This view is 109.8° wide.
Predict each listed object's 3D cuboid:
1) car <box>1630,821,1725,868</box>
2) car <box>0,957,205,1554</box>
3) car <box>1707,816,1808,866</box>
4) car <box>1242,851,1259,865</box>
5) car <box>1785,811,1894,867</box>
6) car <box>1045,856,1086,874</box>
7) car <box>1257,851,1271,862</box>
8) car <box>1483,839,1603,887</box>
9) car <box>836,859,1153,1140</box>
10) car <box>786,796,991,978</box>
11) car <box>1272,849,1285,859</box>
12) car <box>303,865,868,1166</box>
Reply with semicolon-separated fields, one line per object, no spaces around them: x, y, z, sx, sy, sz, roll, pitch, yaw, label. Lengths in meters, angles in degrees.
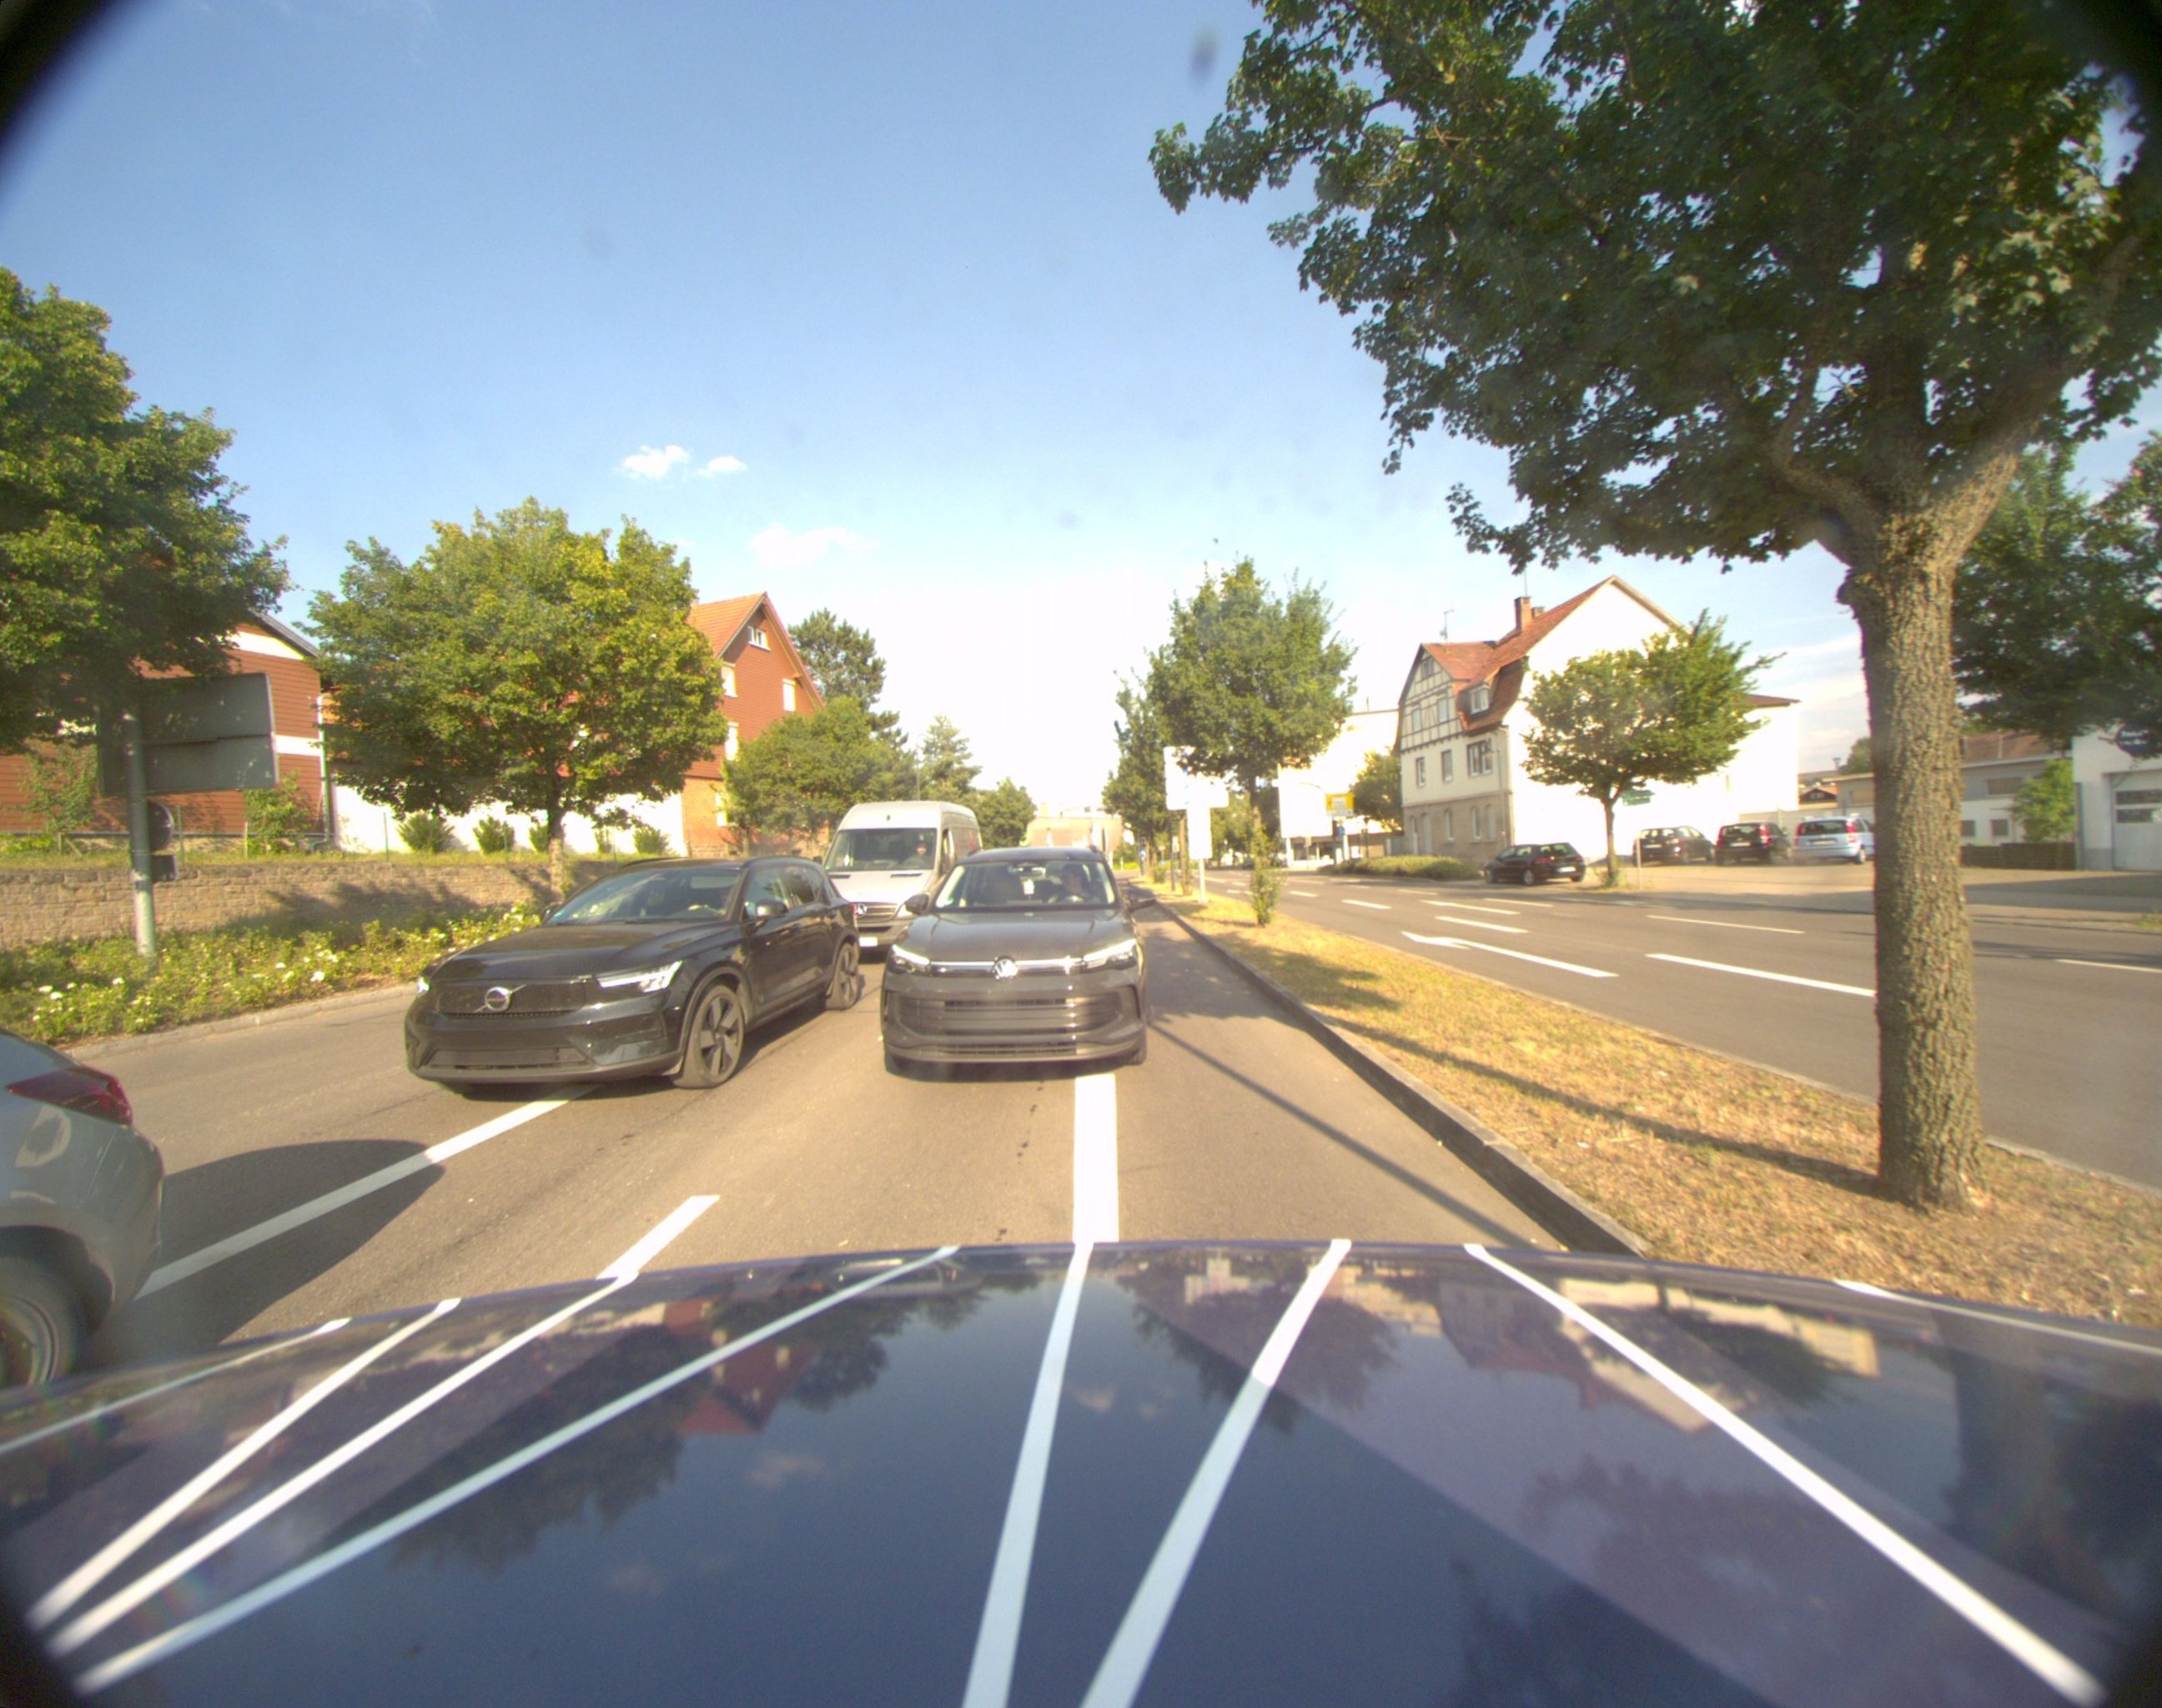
23.380;-0.385;29.758;3.830;1.493;1.816;-5;0;-35;car
-3.613;1.061;0.188;1.766;1.445;4.318;-1;0;0;car
24.659;-0.483;27.661;3.830;1.493;1.816;-5;0;-35;car
21.715;0.518;97.208;1.779;1.683;4.004;-2;0;16;car
24.881;-0.496;24.896;3.830;1.493;1.816;-5;0;-35;car
-1.606;1.112;76.523;3.989;1.597;1.786;-2;1;43;car
30.057;0.402;124.467;1.779;1.683;4.005;-2;0;19;car
16.034;0.285;26.624;1.818;1.442;3.825;-5;0;1;car
-0.451;0.874;6.625;1.845;1.600;4.318;-1;0;2;car
-3.070;0.453;13.733;1.992;2.554;6.046;-1;0;2;car
37.235;0.036;143.362;1.779;1.683;4.006;-2;0;23;car
-3.399;0.947;6.436;1.845;1.600;4.318;-1;0;2;car
